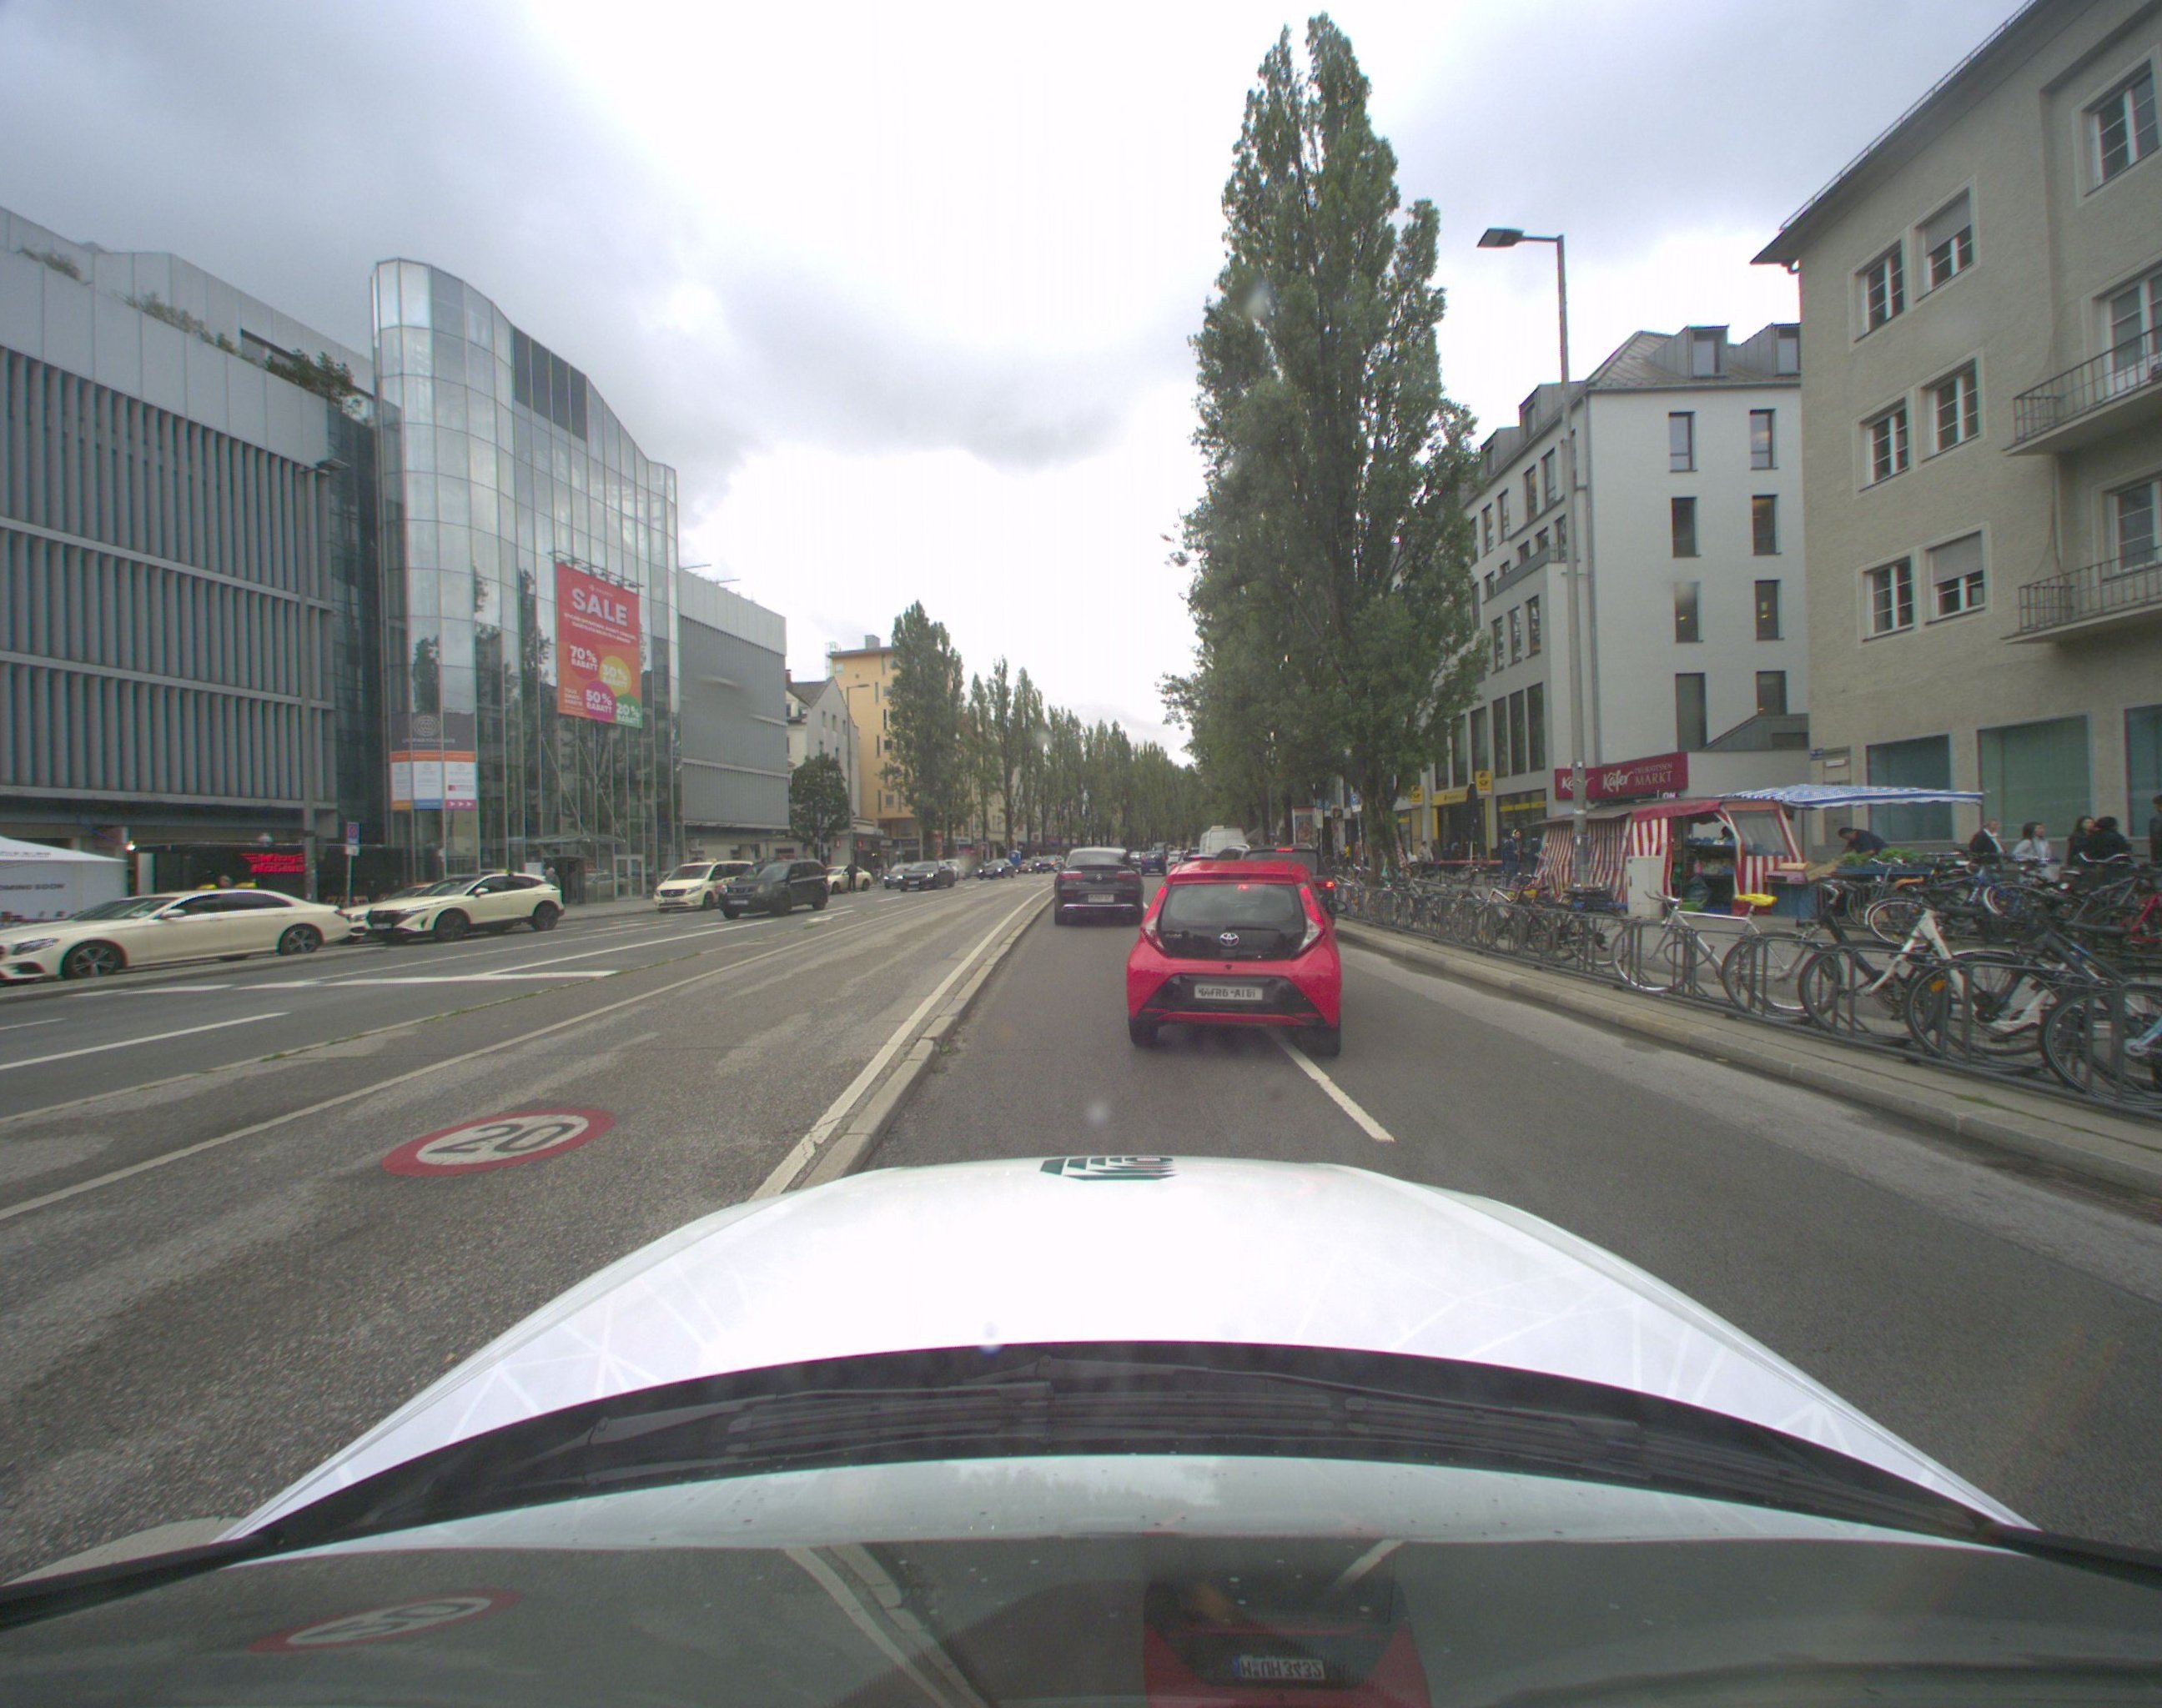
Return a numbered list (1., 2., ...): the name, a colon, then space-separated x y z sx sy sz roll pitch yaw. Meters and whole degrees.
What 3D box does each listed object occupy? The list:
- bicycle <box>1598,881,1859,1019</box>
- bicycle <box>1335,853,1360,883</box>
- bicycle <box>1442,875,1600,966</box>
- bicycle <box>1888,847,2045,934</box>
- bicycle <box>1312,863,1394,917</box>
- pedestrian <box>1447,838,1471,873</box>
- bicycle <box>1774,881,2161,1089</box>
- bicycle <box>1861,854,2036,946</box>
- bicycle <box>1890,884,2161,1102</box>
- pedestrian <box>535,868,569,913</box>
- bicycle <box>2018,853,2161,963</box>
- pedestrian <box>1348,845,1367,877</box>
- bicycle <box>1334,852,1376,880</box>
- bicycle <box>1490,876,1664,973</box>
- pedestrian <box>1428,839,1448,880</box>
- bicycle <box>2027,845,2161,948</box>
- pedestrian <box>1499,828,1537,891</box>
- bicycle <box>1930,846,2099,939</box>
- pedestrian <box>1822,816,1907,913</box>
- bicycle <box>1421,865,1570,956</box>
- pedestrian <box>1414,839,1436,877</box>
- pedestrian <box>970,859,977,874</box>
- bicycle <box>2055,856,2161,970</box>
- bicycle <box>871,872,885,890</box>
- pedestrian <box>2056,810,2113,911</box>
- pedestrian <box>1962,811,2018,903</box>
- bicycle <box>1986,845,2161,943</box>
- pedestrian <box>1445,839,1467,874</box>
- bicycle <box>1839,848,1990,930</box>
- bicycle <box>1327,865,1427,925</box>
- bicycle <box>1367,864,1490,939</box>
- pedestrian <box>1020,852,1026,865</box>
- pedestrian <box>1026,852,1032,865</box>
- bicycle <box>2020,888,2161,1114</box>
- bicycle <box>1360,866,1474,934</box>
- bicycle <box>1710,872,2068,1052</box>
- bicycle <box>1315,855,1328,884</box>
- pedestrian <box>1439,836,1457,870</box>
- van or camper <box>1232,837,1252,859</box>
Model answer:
1. bicycle: 5.777 0.812 7.378 1.779 1.010 0.389 3 2 39
2. bicycle: 10.921 0.554 33.394 0.476 1.160 1.634 -1 0 2
3. bicycle: 5.809 0.846 10.848 1.779 1.010 0.388 3 2 43
4. bicycle: 12.227 0.496 11.267 1.622 1.103 0.410 -3 -1 2
5. bicycle: 5.910 0.759 17.721 1.556 1.054 0.550 3 2 39
6. pedestrian: 17.143 0.064 36.993 0.688 1.585 0.773 -2 0 1
7. bicycle: 5.737 0.768 5.282 0.400 1.059 1.830 0 2 -44
8. bicycle: 10.794 0.574 10.177 1.458 1.078 0.412 -3 -1 16
9. bicycle: 5.724 0.760 4.435 0.400 1.059 1.830 0 2 -44
10. pedestrian: -21.951 1.516 33.804 0.783 1.805 0.821 -2 0 13
11. bicycle: 11.026 0.567 8.665 1.471 1.078 0.411 -3 -1 5
12. pedestrian: 15.489 0.372 45.554 0.712 1.724 0.745 -3 -1 38
13. bicycle: 11.689 0.523 34.818 1.616 1.160 0.708 -1 0 14
14. bicycle: 6.103 0.836 10.097 1.779 1.010 0.389 3 2 39
15. pedestrian: 15.105 0.212 34.453 0.576 1.701 0.598 -3 0 9
16. bicycle: 12.086 0.480 9.390 1.619 1.103 0.411 -3 -1 9
17. pedestrian: 12.567 0.152 23.429 0.789 1.795 0.573 0 -1 7
18. bicycle: 12.104 0.491 10.582 1.622 1.103 0.410 -3 -1 2
19. pedestrian: 14.157 0.182 14.735 0.791 1.673 0.729 -2 0 0
20. bicycle: 5.849 0.762 11.551 1.779 1.105 0.550 3 2 39
21. pedestrian: 14.486 0.163 34.325 0.638 1.583 0.636 -3 0 9
22. pedestrian: -12.650 1.486 95.814 0.535 1.747 0.758 -1 0 13
23. bicycle: 10.866 0.572 8.190 1.440 1.078 0.411 -3 -1 8
24. bicycle: -14.207 1.856 56.998 0.365 1.201 1.158 -2 0 15
25. pedestrian: 17.060 0.109 13.847 0.527 1.673 0.469 0 -1 -24
26. pedestrian: 16.984 0.058 15.219 0.540 1.674 0.502 0 -1 -18
27. bicycle: 12.244 0.484 9.972 1.619 1.103 0.411 -3 -1 9
28. pedestrian: 16.018 0.122 34.771 0.641 1.476 0.764 -1 -1 39
29. bicycle: 12.075 0.503 11.825 1.621 1.103 0.411 -3 -1 5
30. bicycle: 5.926 0.803 16.376 1.779 1.054 0.550 3 2 39
31. bicycle: 5.810 0.761 13.672 1.779 1.105 0.550 3 2 39
32. pedestrian: -8.357 0.689 117.289 0.634 1.862 0.650 -2 0 13
33. pedestrian: -7.443 0.677 117.244 0.634 1.862 0.650 -2 0 13
34. bicycle: 5.738 0.753 3.726 0.400 1.059 1.830 0 2 -44
35. bicycle: 5.872 0.783 14.308 1.779 1.054 0.369 3 2 39
36. bicycle: 5.737 0.708 5.936 1.779 1.059 0.400 3 2 39
37. bicycle: 9.881 0.622 33.430 0.473 1.160 1.833 -1 0 17
38. pedestrian: 18.204 -0.039 40.380 0.685 1.649 0.802 -2 0 17
39. van or camper: 23.381 -0.895 118.164 2.442 3.112 4.734 -3 0 15
